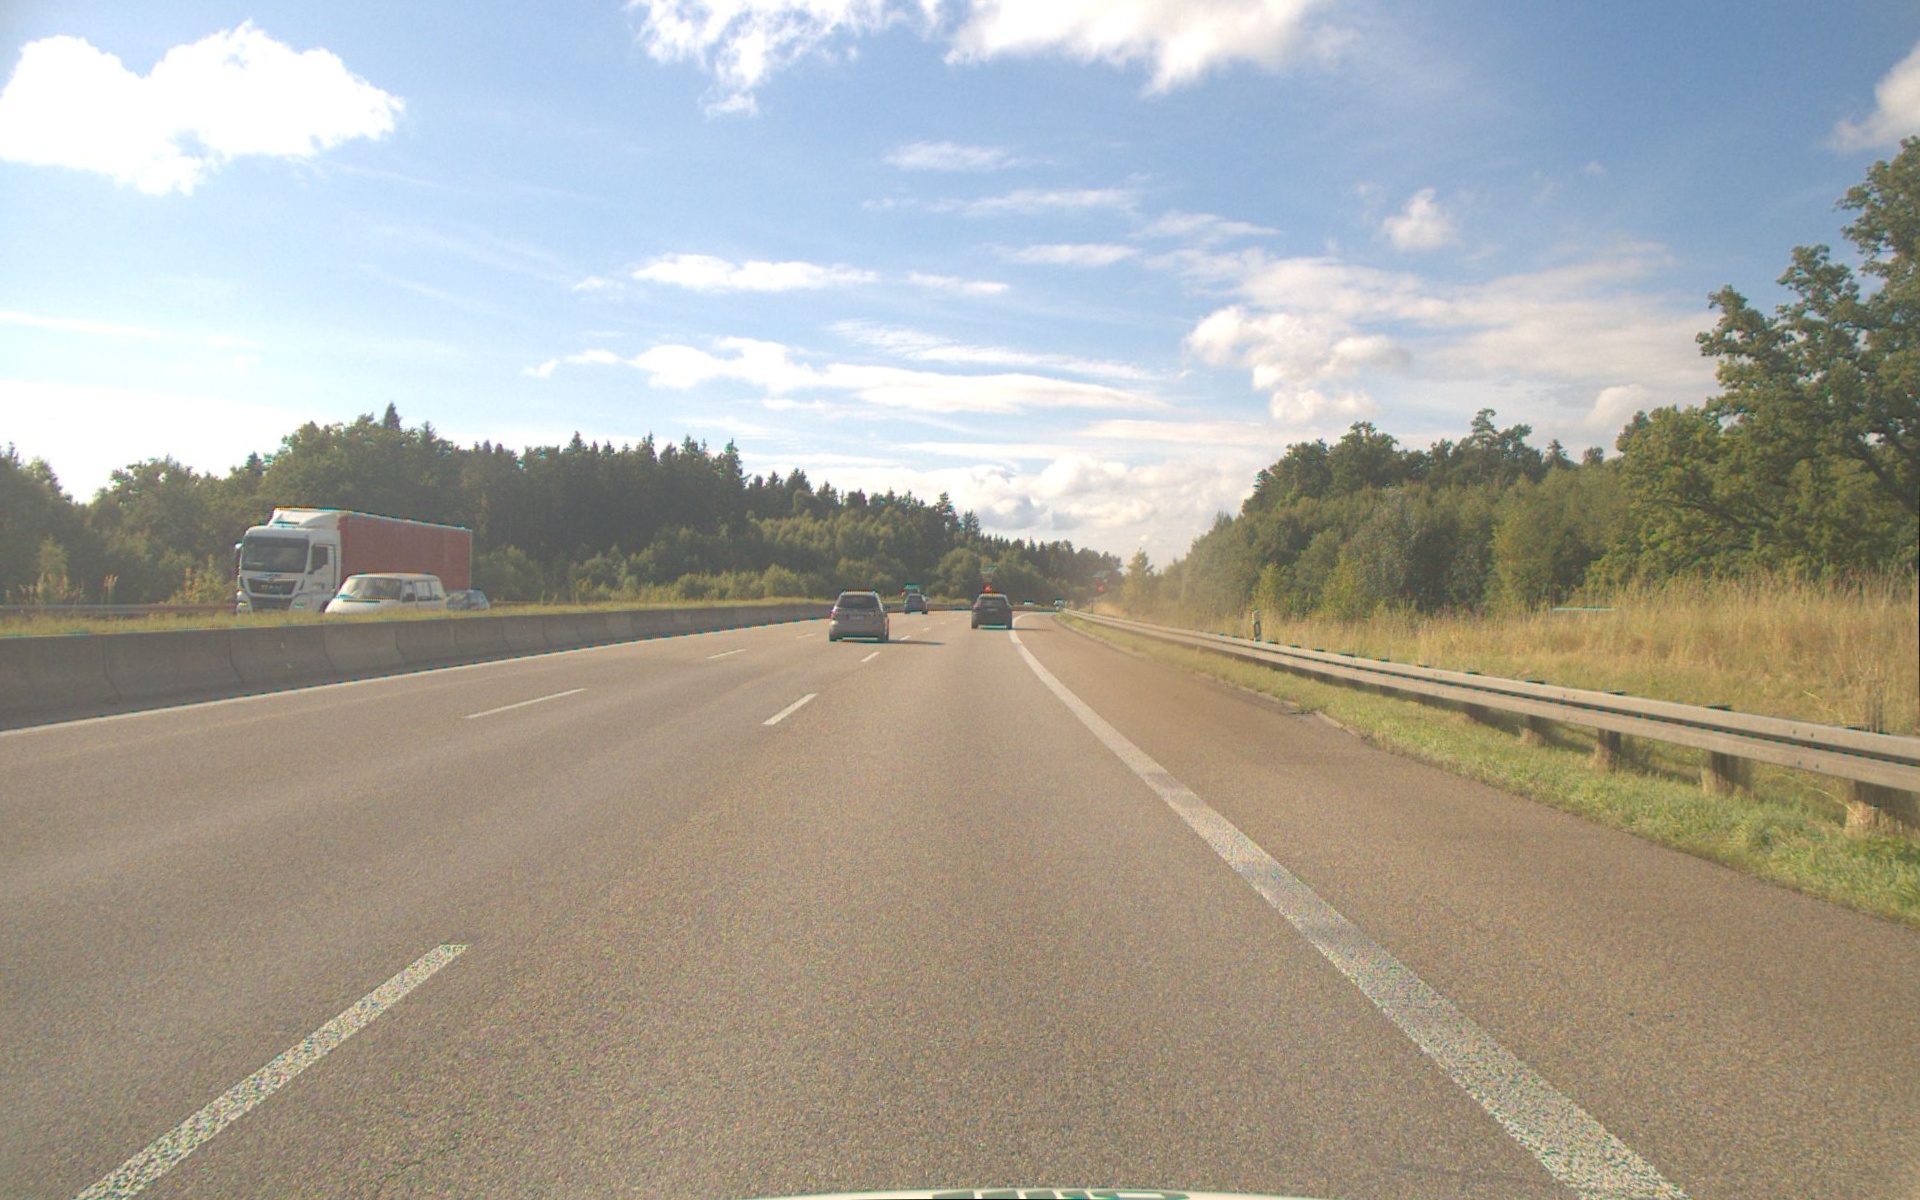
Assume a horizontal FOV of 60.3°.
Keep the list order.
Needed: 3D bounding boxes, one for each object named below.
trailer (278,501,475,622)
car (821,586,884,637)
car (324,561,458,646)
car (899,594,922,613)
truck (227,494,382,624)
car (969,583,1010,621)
[{"bbox_3d":[-22.267,-1.371,64.223,2.959,4.180,12.792,1,0,0],"label":"trailer"},{"bbox_3d":[-3.394,0.338,52.713,1.836,1.523,3.878,1,0,-2],"label":"car"},{"bbox_3d":[-14.708,0.075,43.016,1.953,2.049,4.352,1,0,0],"label":"car"},{"bbox_3d":[-4.297,0.286,143.553,1.835,1.523,3.880,1,0,0],"label":"car"},{"bbox_3d":[-22.331,-1.353,56.671,2.962,4.180,5.669,1,0,0],"label":"truck"},{"bbox_3d":[1.380,0.066,78.070,1.835,1.704,3.890,1,0,1],"label":"car"}]
